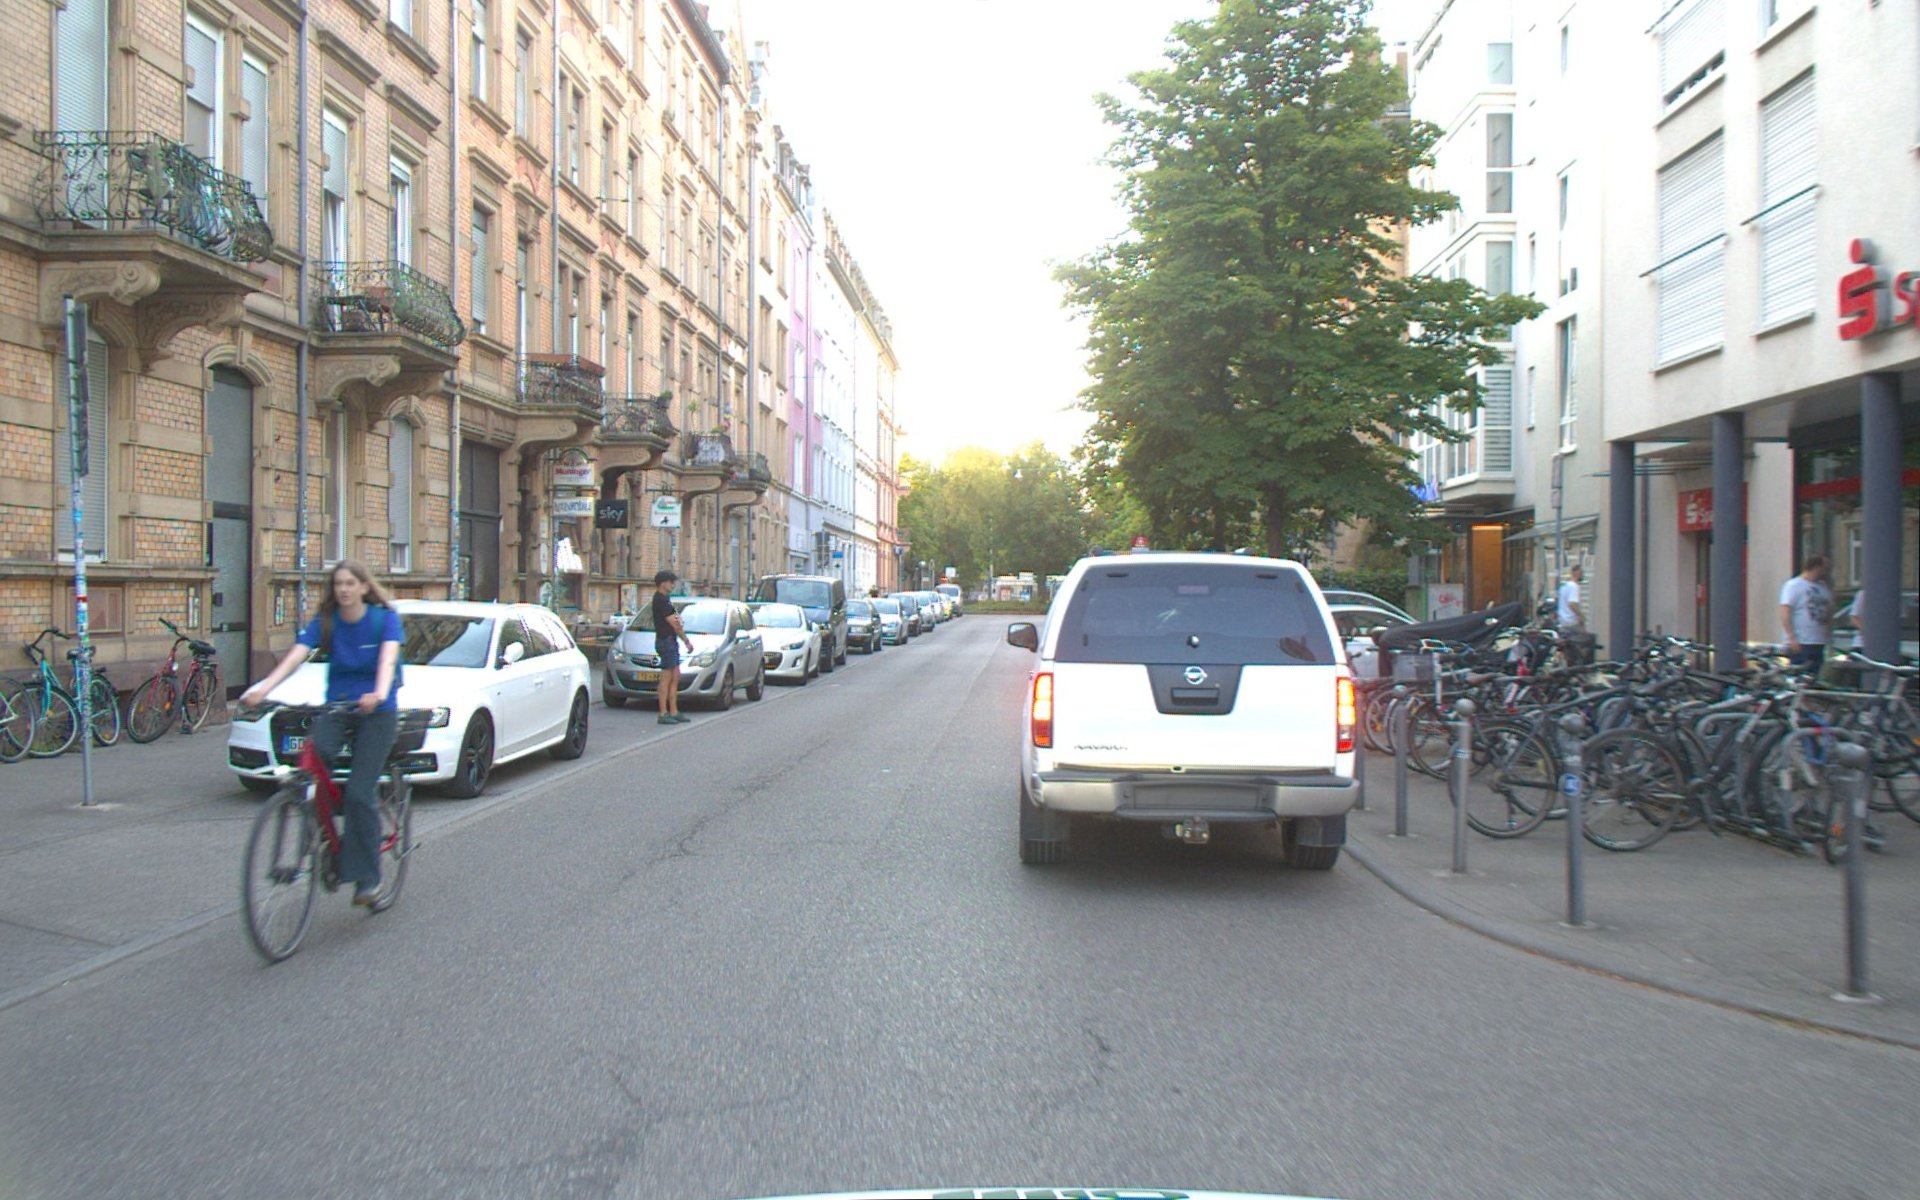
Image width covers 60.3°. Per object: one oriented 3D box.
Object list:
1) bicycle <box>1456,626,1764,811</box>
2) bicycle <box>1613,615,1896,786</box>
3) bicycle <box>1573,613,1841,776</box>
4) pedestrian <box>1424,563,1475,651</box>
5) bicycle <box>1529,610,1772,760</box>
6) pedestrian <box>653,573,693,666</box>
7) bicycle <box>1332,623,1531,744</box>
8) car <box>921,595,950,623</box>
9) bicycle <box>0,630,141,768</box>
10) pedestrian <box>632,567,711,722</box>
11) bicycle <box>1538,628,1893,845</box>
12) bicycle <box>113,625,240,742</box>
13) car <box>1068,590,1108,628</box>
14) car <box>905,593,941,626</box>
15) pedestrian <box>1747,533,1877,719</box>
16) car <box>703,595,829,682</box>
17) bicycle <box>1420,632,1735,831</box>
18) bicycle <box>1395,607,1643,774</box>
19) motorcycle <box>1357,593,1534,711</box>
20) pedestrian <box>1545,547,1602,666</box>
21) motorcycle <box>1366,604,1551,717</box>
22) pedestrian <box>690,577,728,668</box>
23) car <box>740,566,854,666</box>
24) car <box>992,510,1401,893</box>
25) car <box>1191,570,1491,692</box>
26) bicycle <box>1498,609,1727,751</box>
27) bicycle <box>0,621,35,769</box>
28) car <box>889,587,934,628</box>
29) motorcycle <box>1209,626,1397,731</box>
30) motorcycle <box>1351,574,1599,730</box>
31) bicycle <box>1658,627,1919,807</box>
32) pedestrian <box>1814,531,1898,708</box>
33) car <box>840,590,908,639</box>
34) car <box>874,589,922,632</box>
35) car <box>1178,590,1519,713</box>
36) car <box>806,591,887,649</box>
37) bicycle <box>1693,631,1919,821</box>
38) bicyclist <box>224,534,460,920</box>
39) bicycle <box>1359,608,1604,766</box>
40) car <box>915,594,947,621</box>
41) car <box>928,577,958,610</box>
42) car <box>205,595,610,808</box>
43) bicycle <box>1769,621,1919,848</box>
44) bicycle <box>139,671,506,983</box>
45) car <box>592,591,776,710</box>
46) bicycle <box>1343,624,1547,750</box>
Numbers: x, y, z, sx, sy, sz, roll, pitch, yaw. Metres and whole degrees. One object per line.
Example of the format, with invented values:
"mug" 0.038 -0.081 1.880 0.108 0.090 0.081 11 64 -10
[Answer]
"bicycle" 4.373 0.781 11.208 1.772 1.137 0.707 -2 -1 0
"bicycle" 5.700 0.713 11.939 1.686 1.137 0.654 -2 -1 5
"bicycle" 5.618 0.705 12.513 1.686 1.137 0.654 -2 -1 5
"pedestrian" 10.015 0.140 33.857 0.712 1.746 0.963 -2 -1 2
"bicycle" 5.651 0.681 13.595 1.687 1.137 0.653 -2 -1 -1
"pedestrian" -5.775 0.381 33.294 0.568 1.802 0.997 3 1 -2
"bicycle" 4.596 0.809 16.204 1.735 1.040 0.565 -4 -1 5
"car" -1.456 0.498 98.472 1.664 1.579 4.021 2 0 0
"bicycle" -7.645 0.804 14.010 0.553 1.054 1.624 0 0 2
"pedestrian" -3.430 0.523 19.714 0.542 1.786 1.023 0 -1 13
"bicycle" 4.320 0.770 9.558 1.686 1.137 0.707 -2 -1 5
"bicycle" -7.595 0.785 16.092 0.581 1.045 1.622 0 0 -5
"car" 5.605 0.357 72.705 1.641 1.527 3.903 -3 0 4
"car" -1.910 0.489 86.411 1.663 1.649 4.023 1 0 2
"pedestrian" 8.434 0.241 16.374 0.769 1.753 0.900 -4 2 -41
"car" -3.540 0.662 30.869 1.747 1.447 4.485 2 0 0
"bicycle" 3.862 0.807 10.437 1.687 1.137 0.707 -2 -1 0
"bicycle" 4.476 0.720 13.370 1.750 1.202 0.734 -4 -1 13
"motorcycle" 6.246 0.657 21.351 2.016 1.393 0.717 -3 0 -2
"pedestrian" 9.343 0.103 25.186 0.614 1.784 0.586 1 -1 -9
"motorcycle" 6.099 0.735 20.315 2.014 1.265 0.718 -3 0 3
"pedestrian" -5.082 0.449 33.558 0.593 1.803 0.777 3 1 -2
"car" -3.471 0.310 36.070 1.952 1.957 4.951 2 0 0
"car" 1.247 0.522 10.974 1.872 1.885 5.269 1 0 -1
"car" 5.924 0.472 26.092 4.307 1.676 1.747 -2 0 2
"bicycle" 5.628 0.678 14.318 1.687 1.137 0.653 -2 -1 -1
"bicycle" -7.767 0.749 12.527 0.505 1.151 1.731 0 0 2
"car" -2.039 0.327 70.600 1.807 1.688 4.252 0 0 -1
"motorcycle" 3.996 0.899 19.288 2.022 1.097 0.661 -2 0 -13
"motorcycle" 5.665 0.570 18.321 2.439 1.576 0.824 -3 -1 5
"bicycle" 5.554 0.749 10.786 1.686 1.072 0.654 -2 -1 5
"pedestrian" 9.134 0.188 16.855 0.652 1.753 0.660 0 2 37
"car" -2.779 0.464 54.469 1.796 1.483 4.208 3 0 2
"car" -2.371 0.404 64.116 1.602 1.593 3.782 1 0 1
"car" 5.408 0.692 23.344 4.336 1.480 1.778 -2 0 -4
"car" -3.060 0.532 45.303 1.700 1.443 4.779 1 0 2
"bicycle" 5.492 0.748 10.115 1.686 1.072 0.654 -2 -1 5
"bicyclist" -2.808 0.547 7.596 0.631 1.649 0.919 -2 0 5
"bicycle" 4.443 0.732 14.215 1.830 1.202 0.743 -4 -1 7
"car" -1.597 0.406 92.543 1.664 1.451 4.021 2 0 0
"car" -1.128 -0.409 106.620 1.774 2.011 4.185 1 0 -2
"car" -4.367 0.703 13.894 1.721 1.436 4.510 1 1 2
"bicycle" 5.415 0.693 9.092 1.691 1.151 0.577 -2 -1 -10
"bicycle" -2.798 0.940 7.561 0.631 1.100 2.170 -2 0 5
"car" -3.786 0.639 23.359 1.681 1.483 4.002 1 0 3
"bicycle" 4.549 0.810 15.586 1.683 1.049 0.668 -4 -1 5
